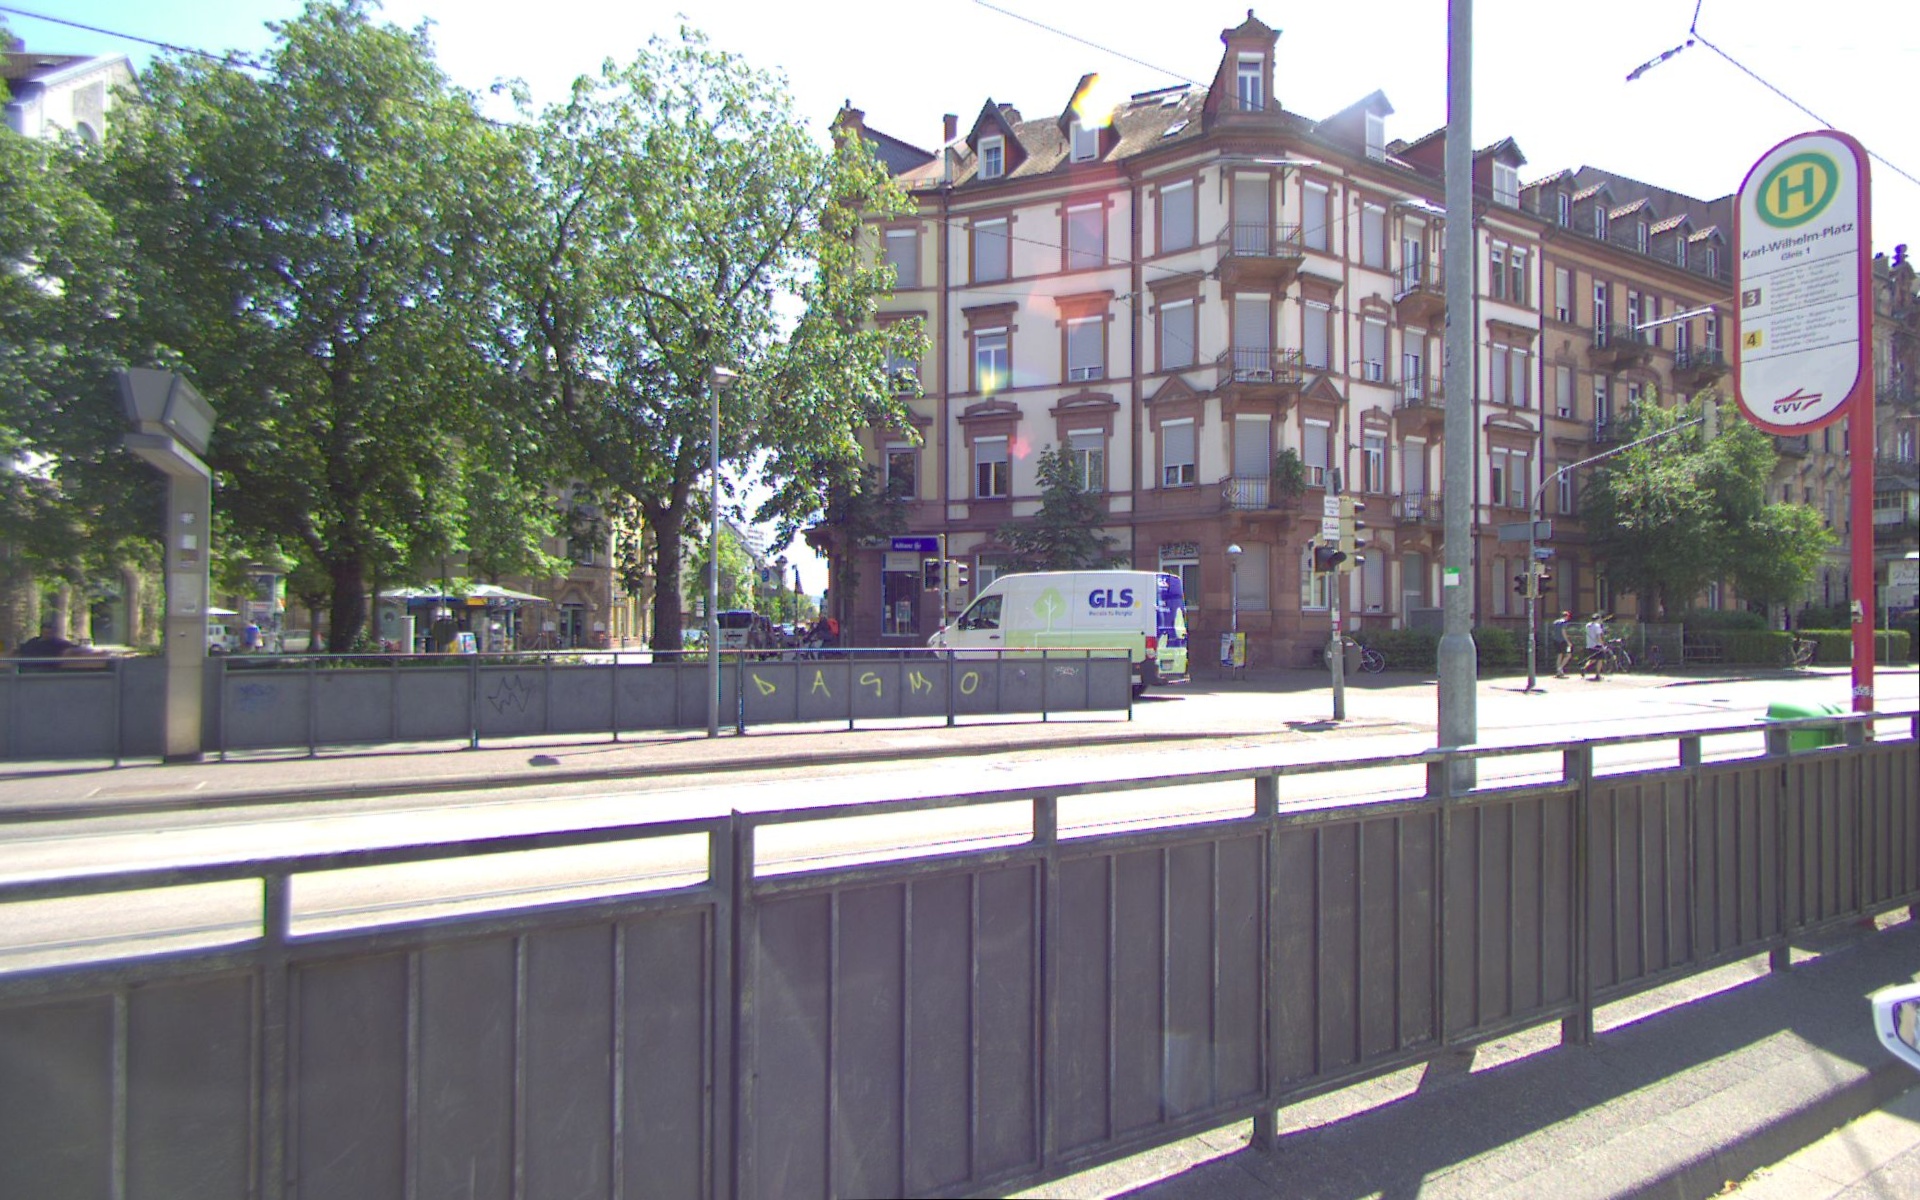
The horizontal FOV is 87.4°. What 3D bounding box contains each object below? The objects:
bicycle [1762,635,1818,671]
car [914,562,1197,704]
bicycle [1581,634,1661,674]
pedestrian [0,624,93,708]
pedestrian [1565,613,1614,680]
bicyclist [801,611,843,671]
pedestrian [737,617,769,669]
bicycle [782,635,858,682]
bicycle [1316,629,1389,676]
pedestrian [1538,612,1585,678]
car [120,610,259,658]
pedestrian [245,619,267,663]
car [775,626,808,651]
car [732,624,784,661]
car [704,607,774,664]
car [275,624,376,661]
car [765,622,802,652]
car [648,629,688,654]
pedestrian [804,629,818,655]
[{"bbox_3d":[28.503,1.798,34.490,2.750,1.151,0.930,2,0,-39],"label":"bicycle"},{"bbox_3d":[1.972,0.684,21.688,5.729,2.708,2.268,-1,-2,34],"label":"car"},{"bbox_3d":[20.218,1.641,30.707,2.742,1.151,0.932,2,0,-31],"label":"bicycle"},{"bbox_3d":[-14.671,1.043,16.096,0.925,1.261,0.860,2,0,-24],"label":"pedestrian"},{"bbox_3d":[17.788,1.290,28.388,0.862,1.847,0.813,0,1,-26],"label":"pedestrian"},{"bbox_3d":[-3.711,1.092,27.112,0.880,1.582,0.723,1,-1,14],"label":"bicyclist"},{"bbox_3d":[-6.935,1.438,33.670,1.043,1.712,0.721,0,-1,-12],"label":"pedestrian"},{"bbox_3d":[-3.779,1.557,27.155,1.888,1.188,0.649,1,-1,15],"label":"bicycle"},{"bbox_3d":[11.655,1.554,29.853,1.923,1.312,0.564,2,0,11],"label":"bicycle"},{"bbox_3d":[17.374,1.286,29.034,0.862,1.847,0.813,0,1,-26],"label":"pedestrian"},{"bbox_3d":[-31.199,1.369,40.806,3.932,1.814,1.994,2,0,-14],"label":"car"},{"bbox_3d":[-27.413,1.594,39.100,0.506,1.692,0.491,0,-1,-8],"label":"pedestrian"},{"bbox_3d":[-12.493,2.845,74.749,1.962,1.617,3.998,2,0,-4],"label":"car"},{"bbox_3d":[-9.636,2.010,48.280,1.893,1.541,3.998,2,0,-4],"label":"car"},{"bbox_3d":[-8.339,1.298,38.208,1.962,1.970,3.998,2,0,-4],"label":"car"},{"bbox_3d":[-32.086,2.161,50.882,3.920,1.730,1.761,2,0,-14],"label":"car"},{"bbox_3d":[-10.383,2.177,59.445,1.684,1.617,3.998,2,0,-4],"label":"car"},{"bbox_3d":[-20.669,2.918,71.154,1.846,1.617,3.998,2,0,-4],"label":"car"},{"bbox_3d":[-9.426,2.664,63.481,0.790,1.632,0.731,0,-1,-4],"label":"pedestrian"}]
